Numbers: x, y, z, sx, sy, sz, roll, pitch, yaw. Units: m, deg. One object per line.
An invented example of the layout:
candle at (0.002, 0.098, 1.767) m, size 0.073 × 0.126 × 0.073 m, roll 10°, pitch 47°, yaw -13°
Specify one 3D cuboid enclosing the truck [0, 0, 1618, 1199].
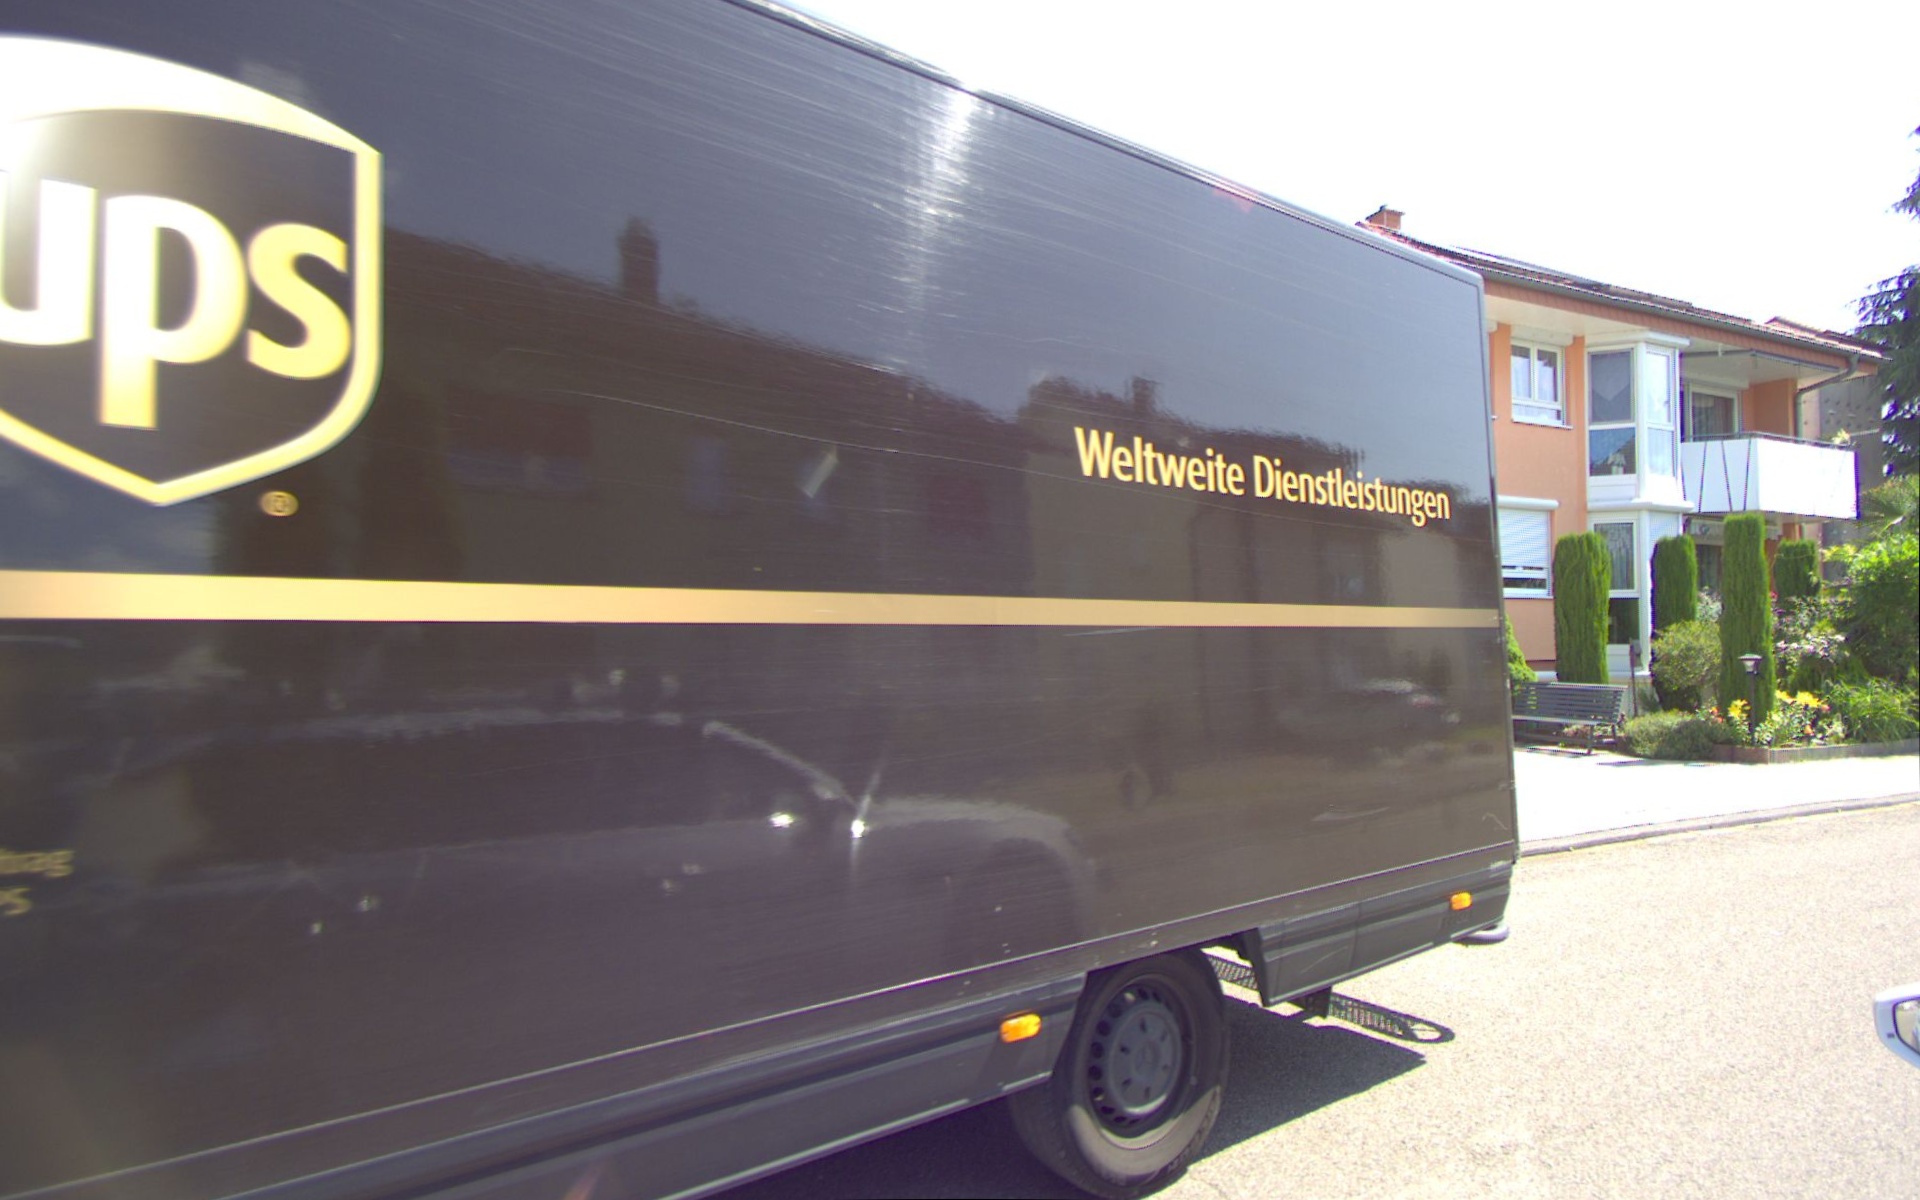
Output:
truck at (-1.272, 0.161, 2.708) m, size 7.224 × 2.823 × 2.420 m, roll 2°, pitch -6°, yaw -35°
